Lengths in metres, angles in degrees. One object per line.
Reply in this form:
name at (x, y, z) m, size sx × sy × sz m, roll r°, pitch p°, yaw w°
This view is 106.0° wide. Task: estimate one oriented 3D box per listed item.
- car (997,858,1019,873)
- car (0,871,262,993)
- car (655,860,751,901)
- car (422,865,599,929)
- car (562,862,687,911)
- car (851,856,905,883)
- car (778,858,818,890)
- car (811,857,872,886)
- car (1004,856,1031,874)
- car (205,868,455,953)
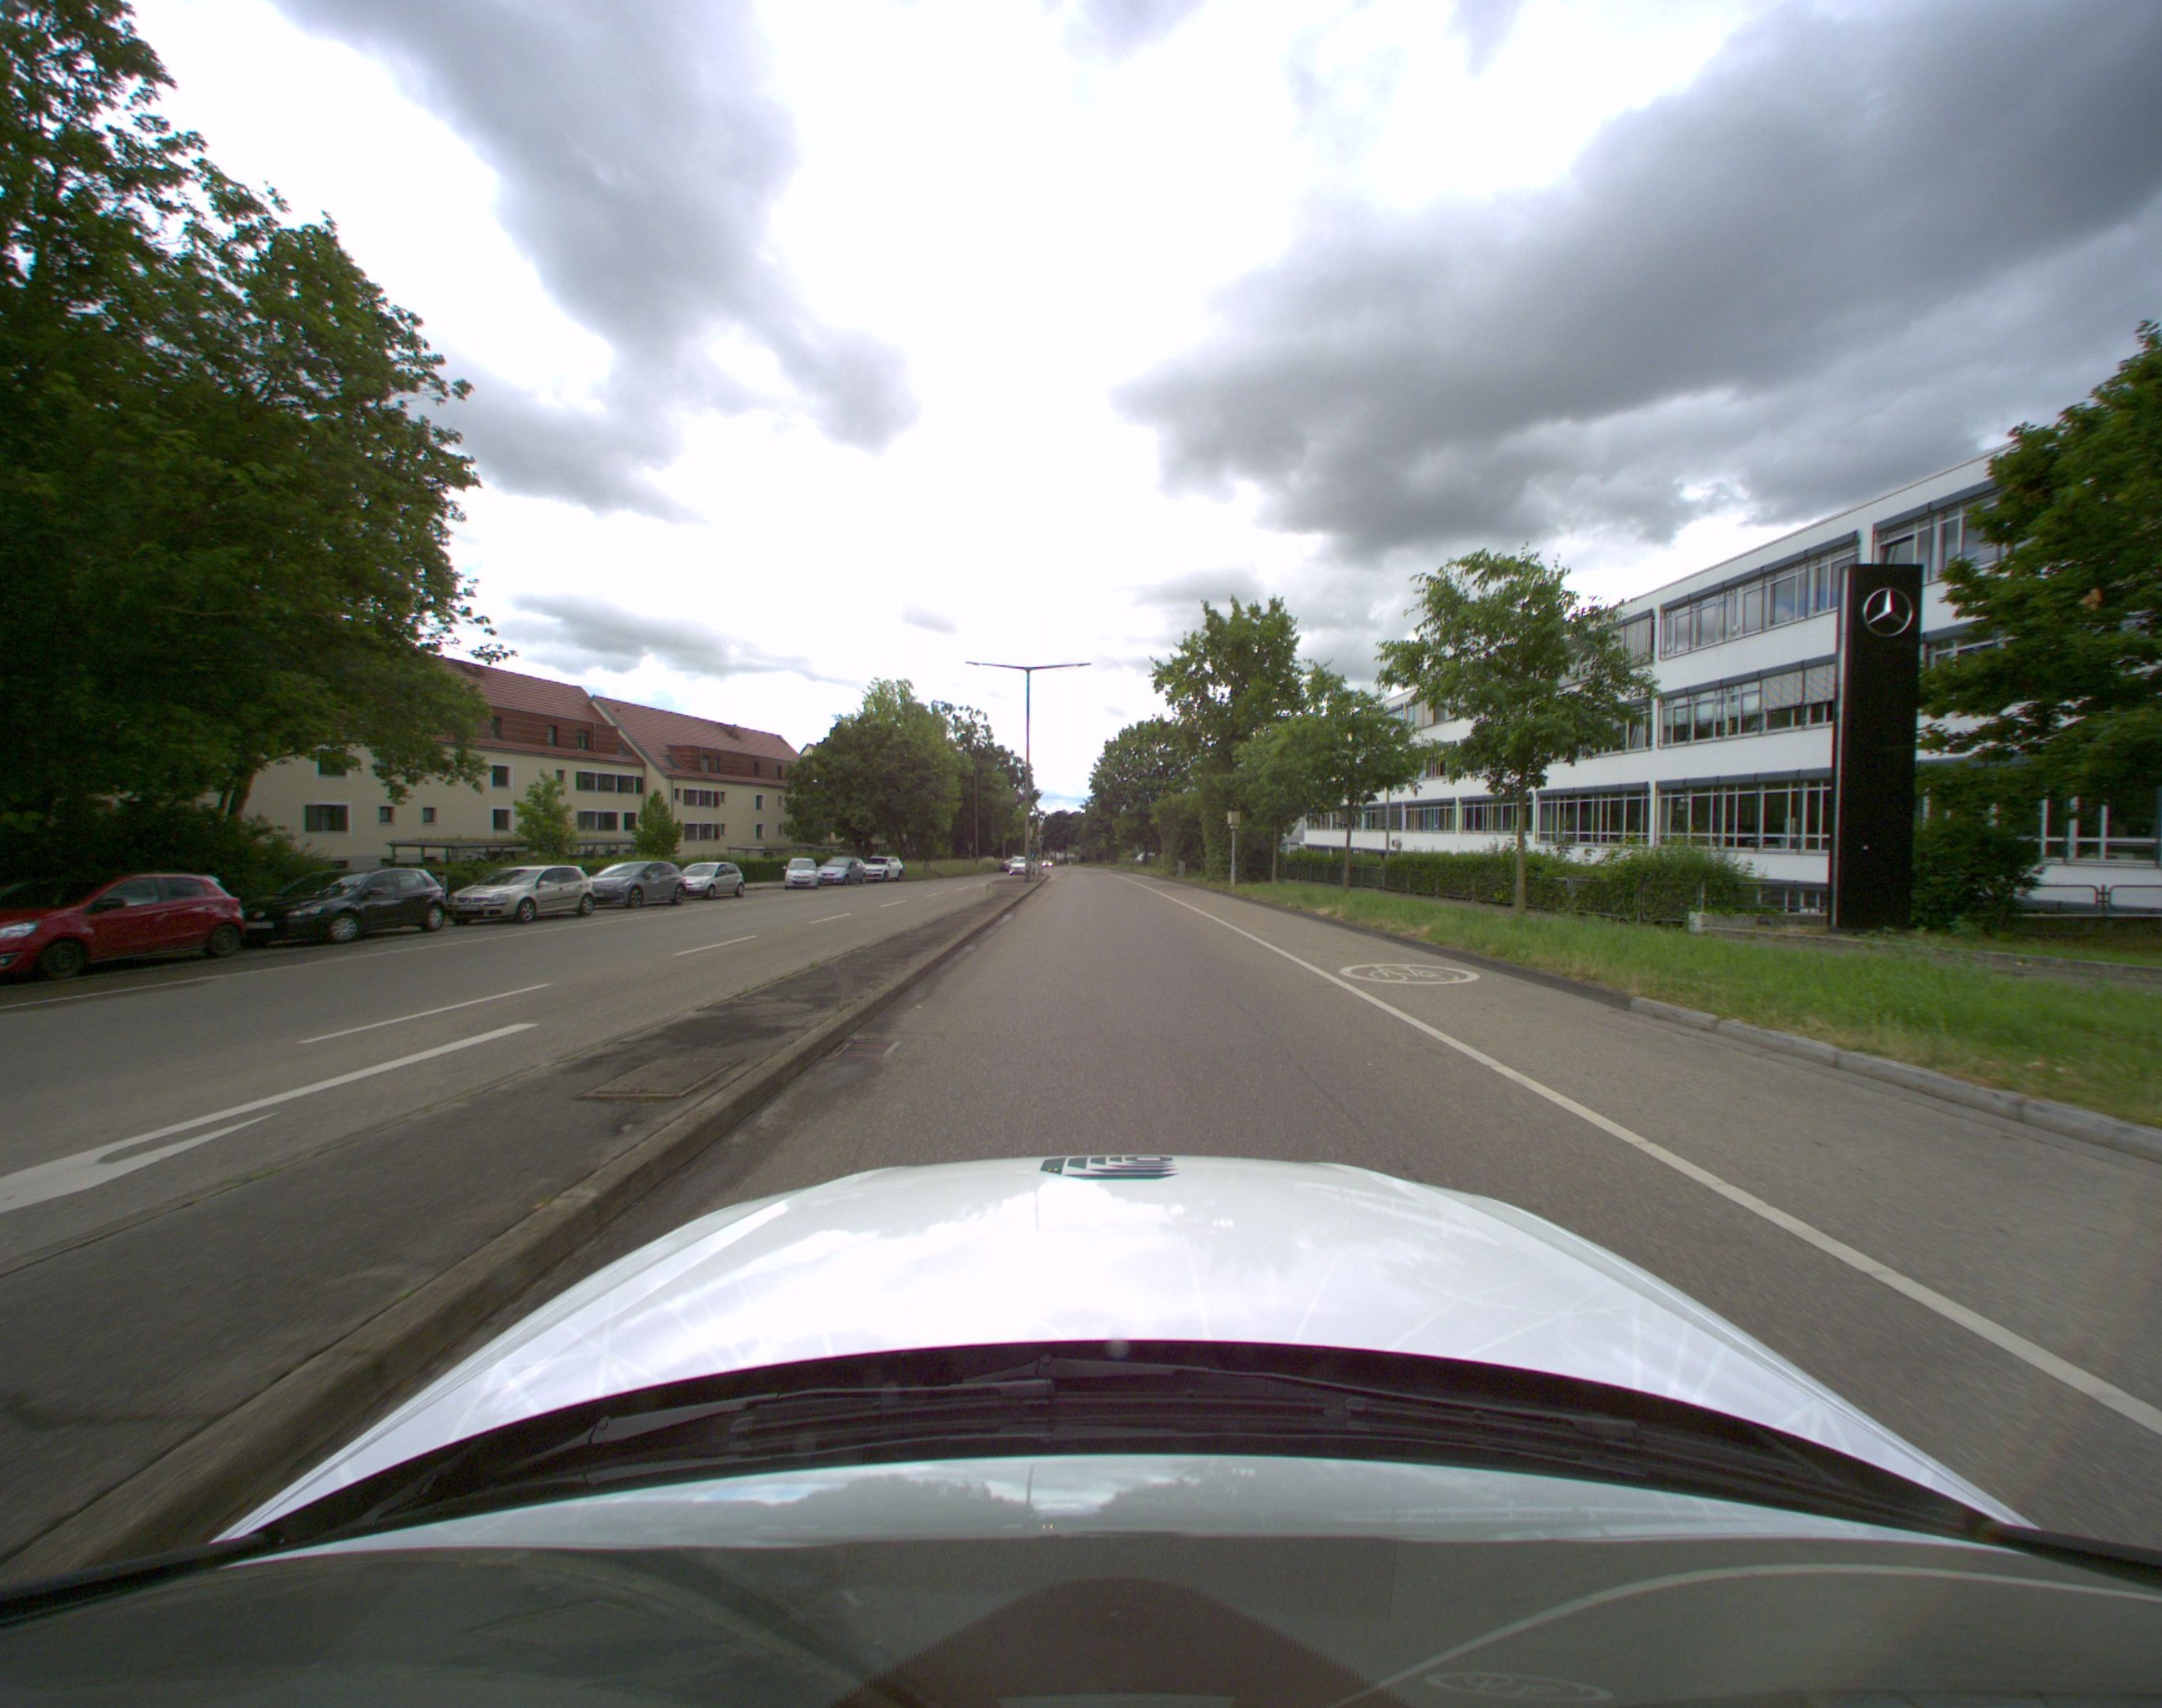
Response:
car at (-8.171, 1.304, 91.175) m, size 1.868 × 1.570 × 4.652 m, roll 0°, pitch -1°, yaw 2°
car at (-15.149, 1.044, 12.299) m, size 1.873 × 1.507 × 3.879 m, roll 0°, pitch 0°, yaw -7°
car at (-15.111, 1.027, 32.812) m, size 1.868 × 1.507 × 4.002 m, roll -1°, pitch 0°, yaw 2°
car at (-15.034, 1.065, 21.775) m, size 1.869 × 1.507 × 4.055 m, roll 0°, pitch 0°, yaw -1°
car at (-15.251, 1.032, 27.463) m, size 1.868 × 1.507 × 4.001 m, roll 0°, pitch -1°, yaw 1°
car at (-12.896, 0.997, 52.070) m, size 1.865 × 1.667 × 4.399 m, roll 0°, pitch -1°, yaw 7°
car at (-14.617, 0.993, 42.173) m, size 1.881 × 1.507 × 3.975 m, roll -1°, pitch 0°, yaw -19°
car at (-13.734, 1.020, 46.954) m, size 1.865 × 1.597 × 4.008 m, roll 0°, pitch -1°, yaw 7°
car at (-5.586, 1.009, 72.044) m, size 1.868 × 1.570 × 4.340 m, roll 0°, pitch -1°, yaw 2°
car at (-15.239, 1.060, 16.881) m, size 1.875 × 1.507 × 3.987 m, roll 0°, pitch 0°, yaw -9°
